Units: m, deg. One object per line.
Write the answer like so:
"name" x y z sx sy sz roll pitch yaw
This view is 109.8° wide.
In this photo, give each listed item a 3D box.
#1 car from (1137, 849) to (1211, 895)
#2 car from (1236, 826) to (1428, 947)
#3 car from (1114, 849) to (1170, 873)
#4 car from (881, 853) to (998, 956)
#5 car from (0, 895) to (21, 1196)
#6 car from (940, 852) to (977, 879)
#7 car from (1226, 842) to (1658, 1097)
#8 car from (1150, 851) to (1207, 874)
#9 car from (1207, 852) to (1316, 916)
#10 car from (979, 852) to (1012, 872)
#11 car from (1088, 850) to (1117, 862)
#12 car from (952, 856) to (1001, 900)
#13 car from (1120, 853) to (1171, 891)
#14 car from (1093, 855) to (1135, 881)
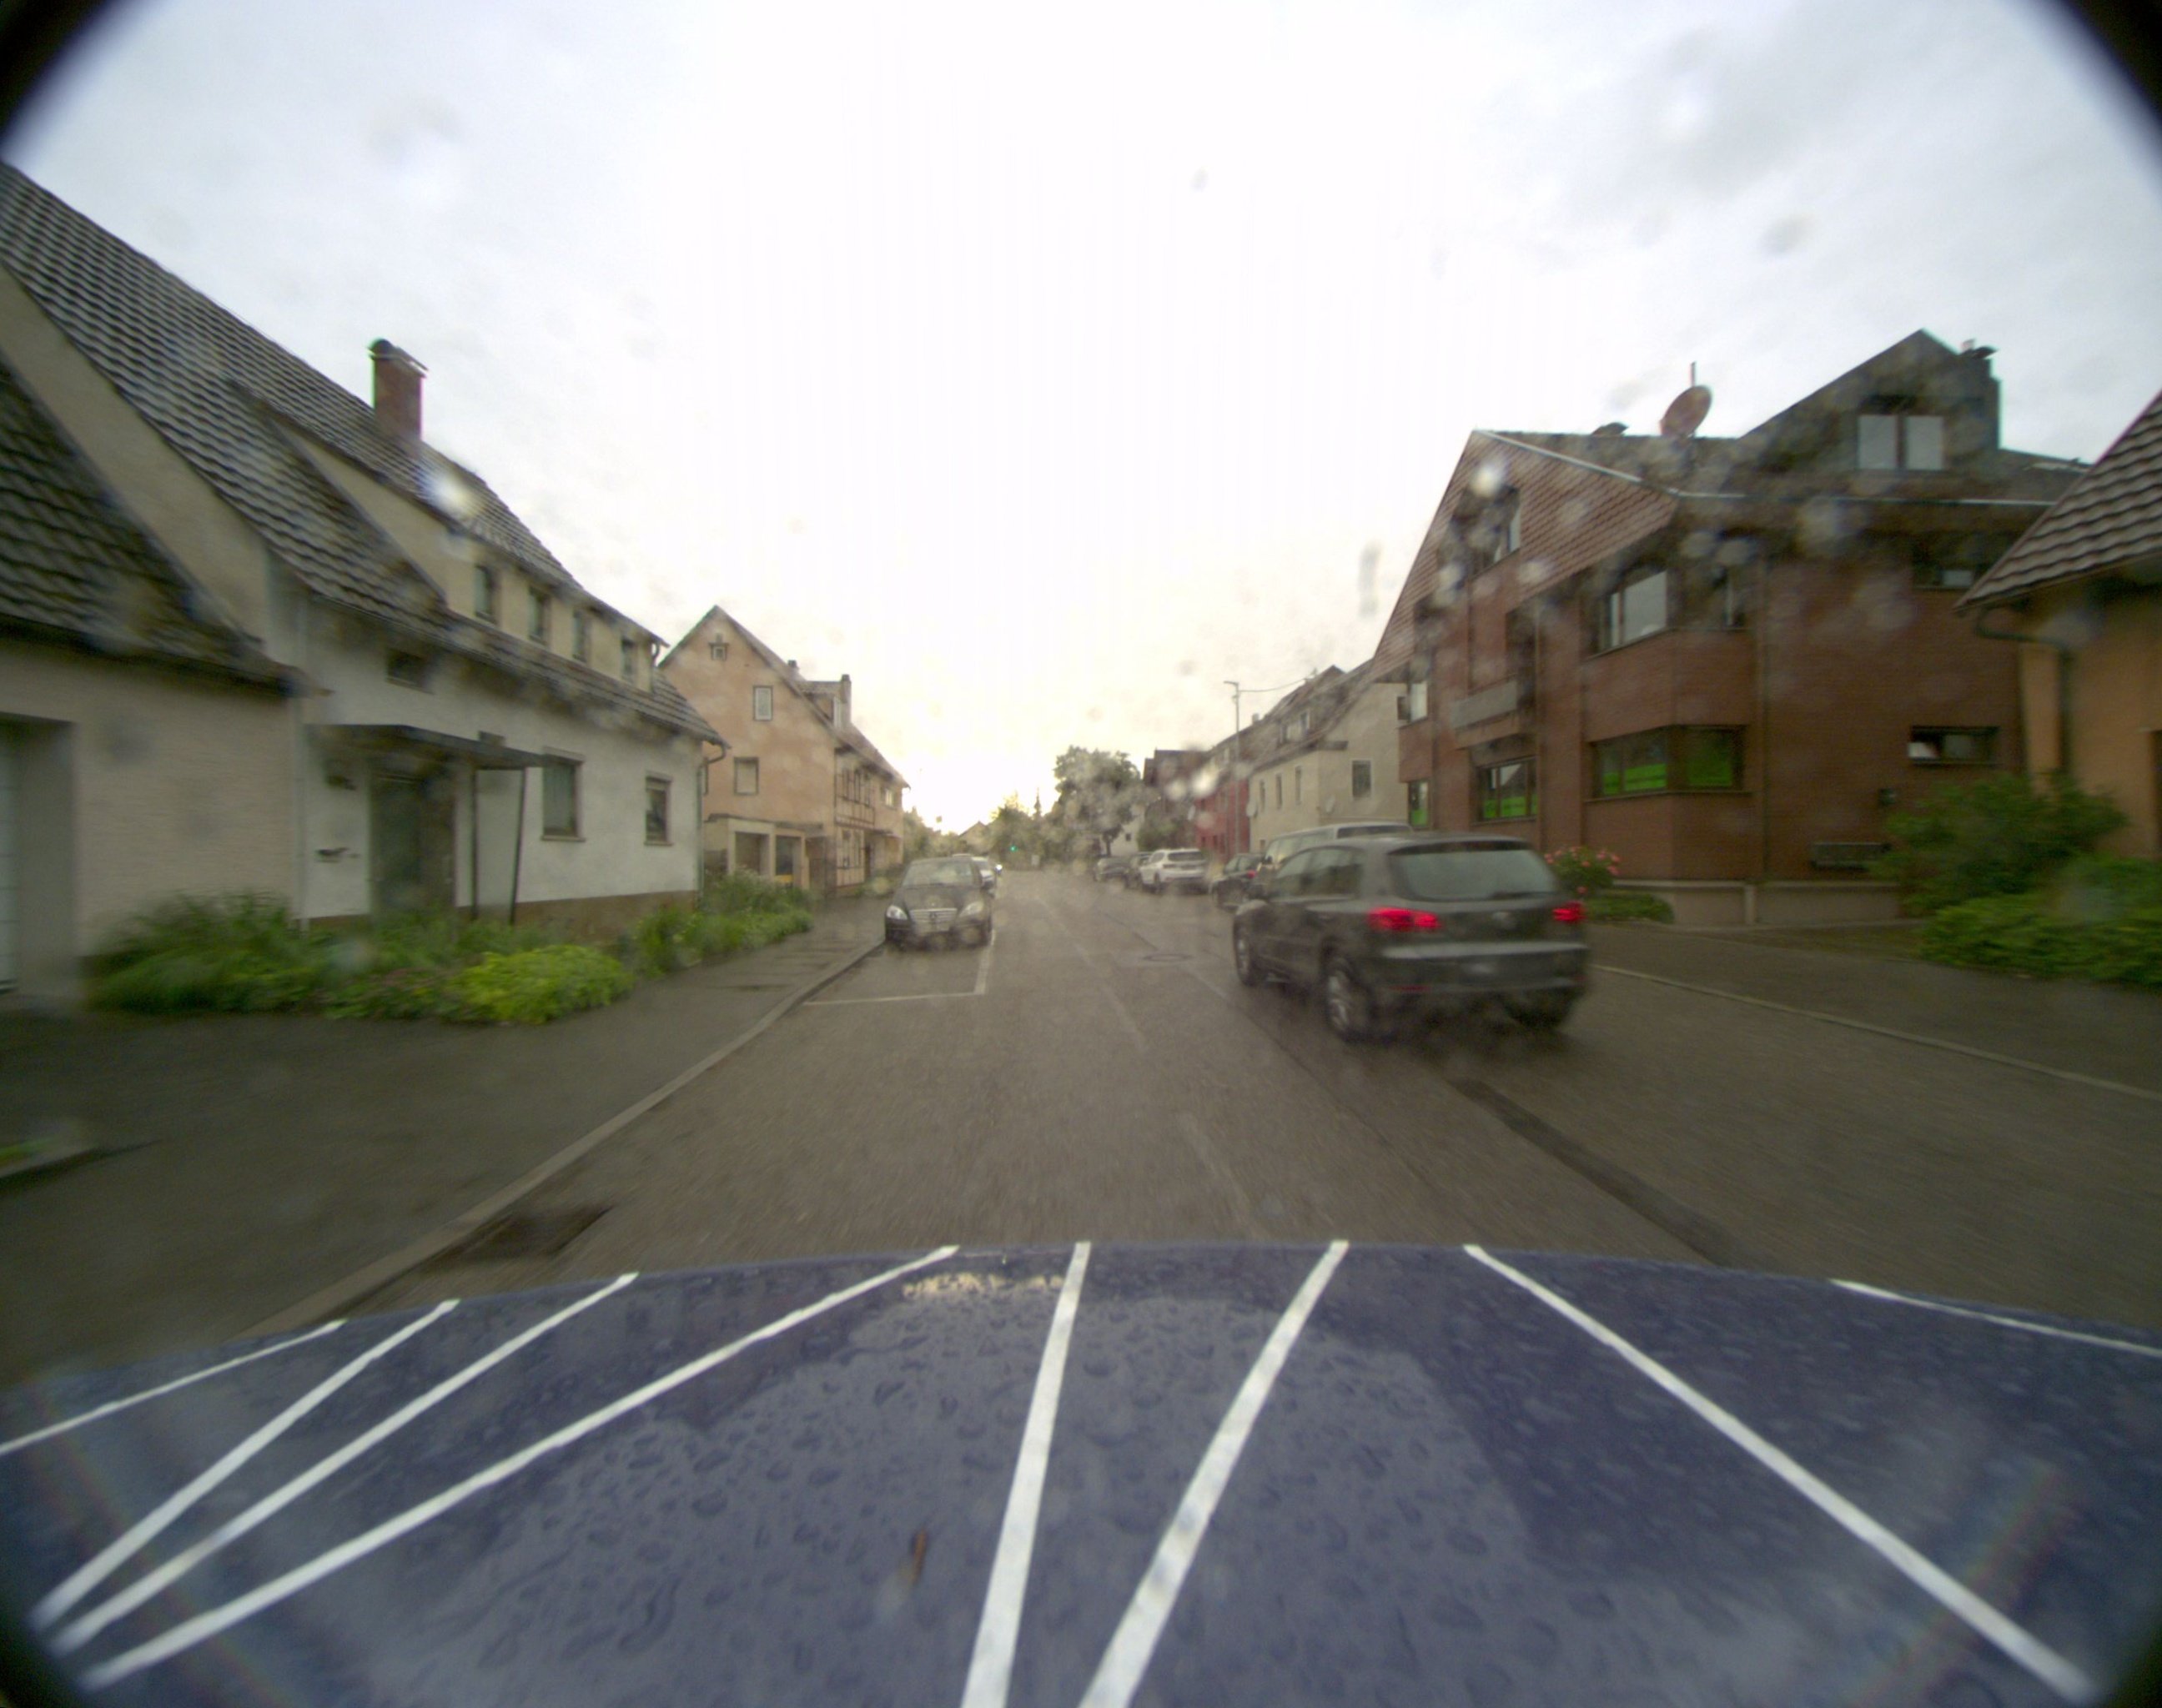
"car" 3.475 0.631 29.254 1.770 1.610 4.653 0 0 -7
"car" 4.700 0.524 15.205 1.827 2.002 5.212 0 0 -4
"car" 4.155 0.472 52.373 3.585 1.497 1.855 -3 1 -3
"car" -2.587 0.839 14.709 1.754 1.700 3.998 0 0 -4
"car" -5.710 0.748 1.373 1.760 1.386 4.006 6 1 16
"car" -9.320 0.822 57.482 1.938 1.891 4.786 -2 1 -18
"car" 2.748 0.730 6.934 1.803 1.630 3.998 0 0 -5
"car" 6.377 0.568 50.099 3.471 1.470 1.590 0 1 -5
"car" 4.561 0.711 19.685 1.583 1.488 3.564 0 0 -8
"car" -7.277 0.646 64.686 1.919 1.652 3.993 0 0 -20
"car" 2.600 0.257 90.549 1.781 1.413 3.617 -1 0 -31
"car" -4.370 0.906 31.465 1.808 1.586 4.607 -2 1 -9
"car" 2.802 0.763 33.757 1.610 1.608 3.274 0 0 -7
"car" 1.849 0.776 43.644 1.632 1.348 4.107 -3 1 -8
